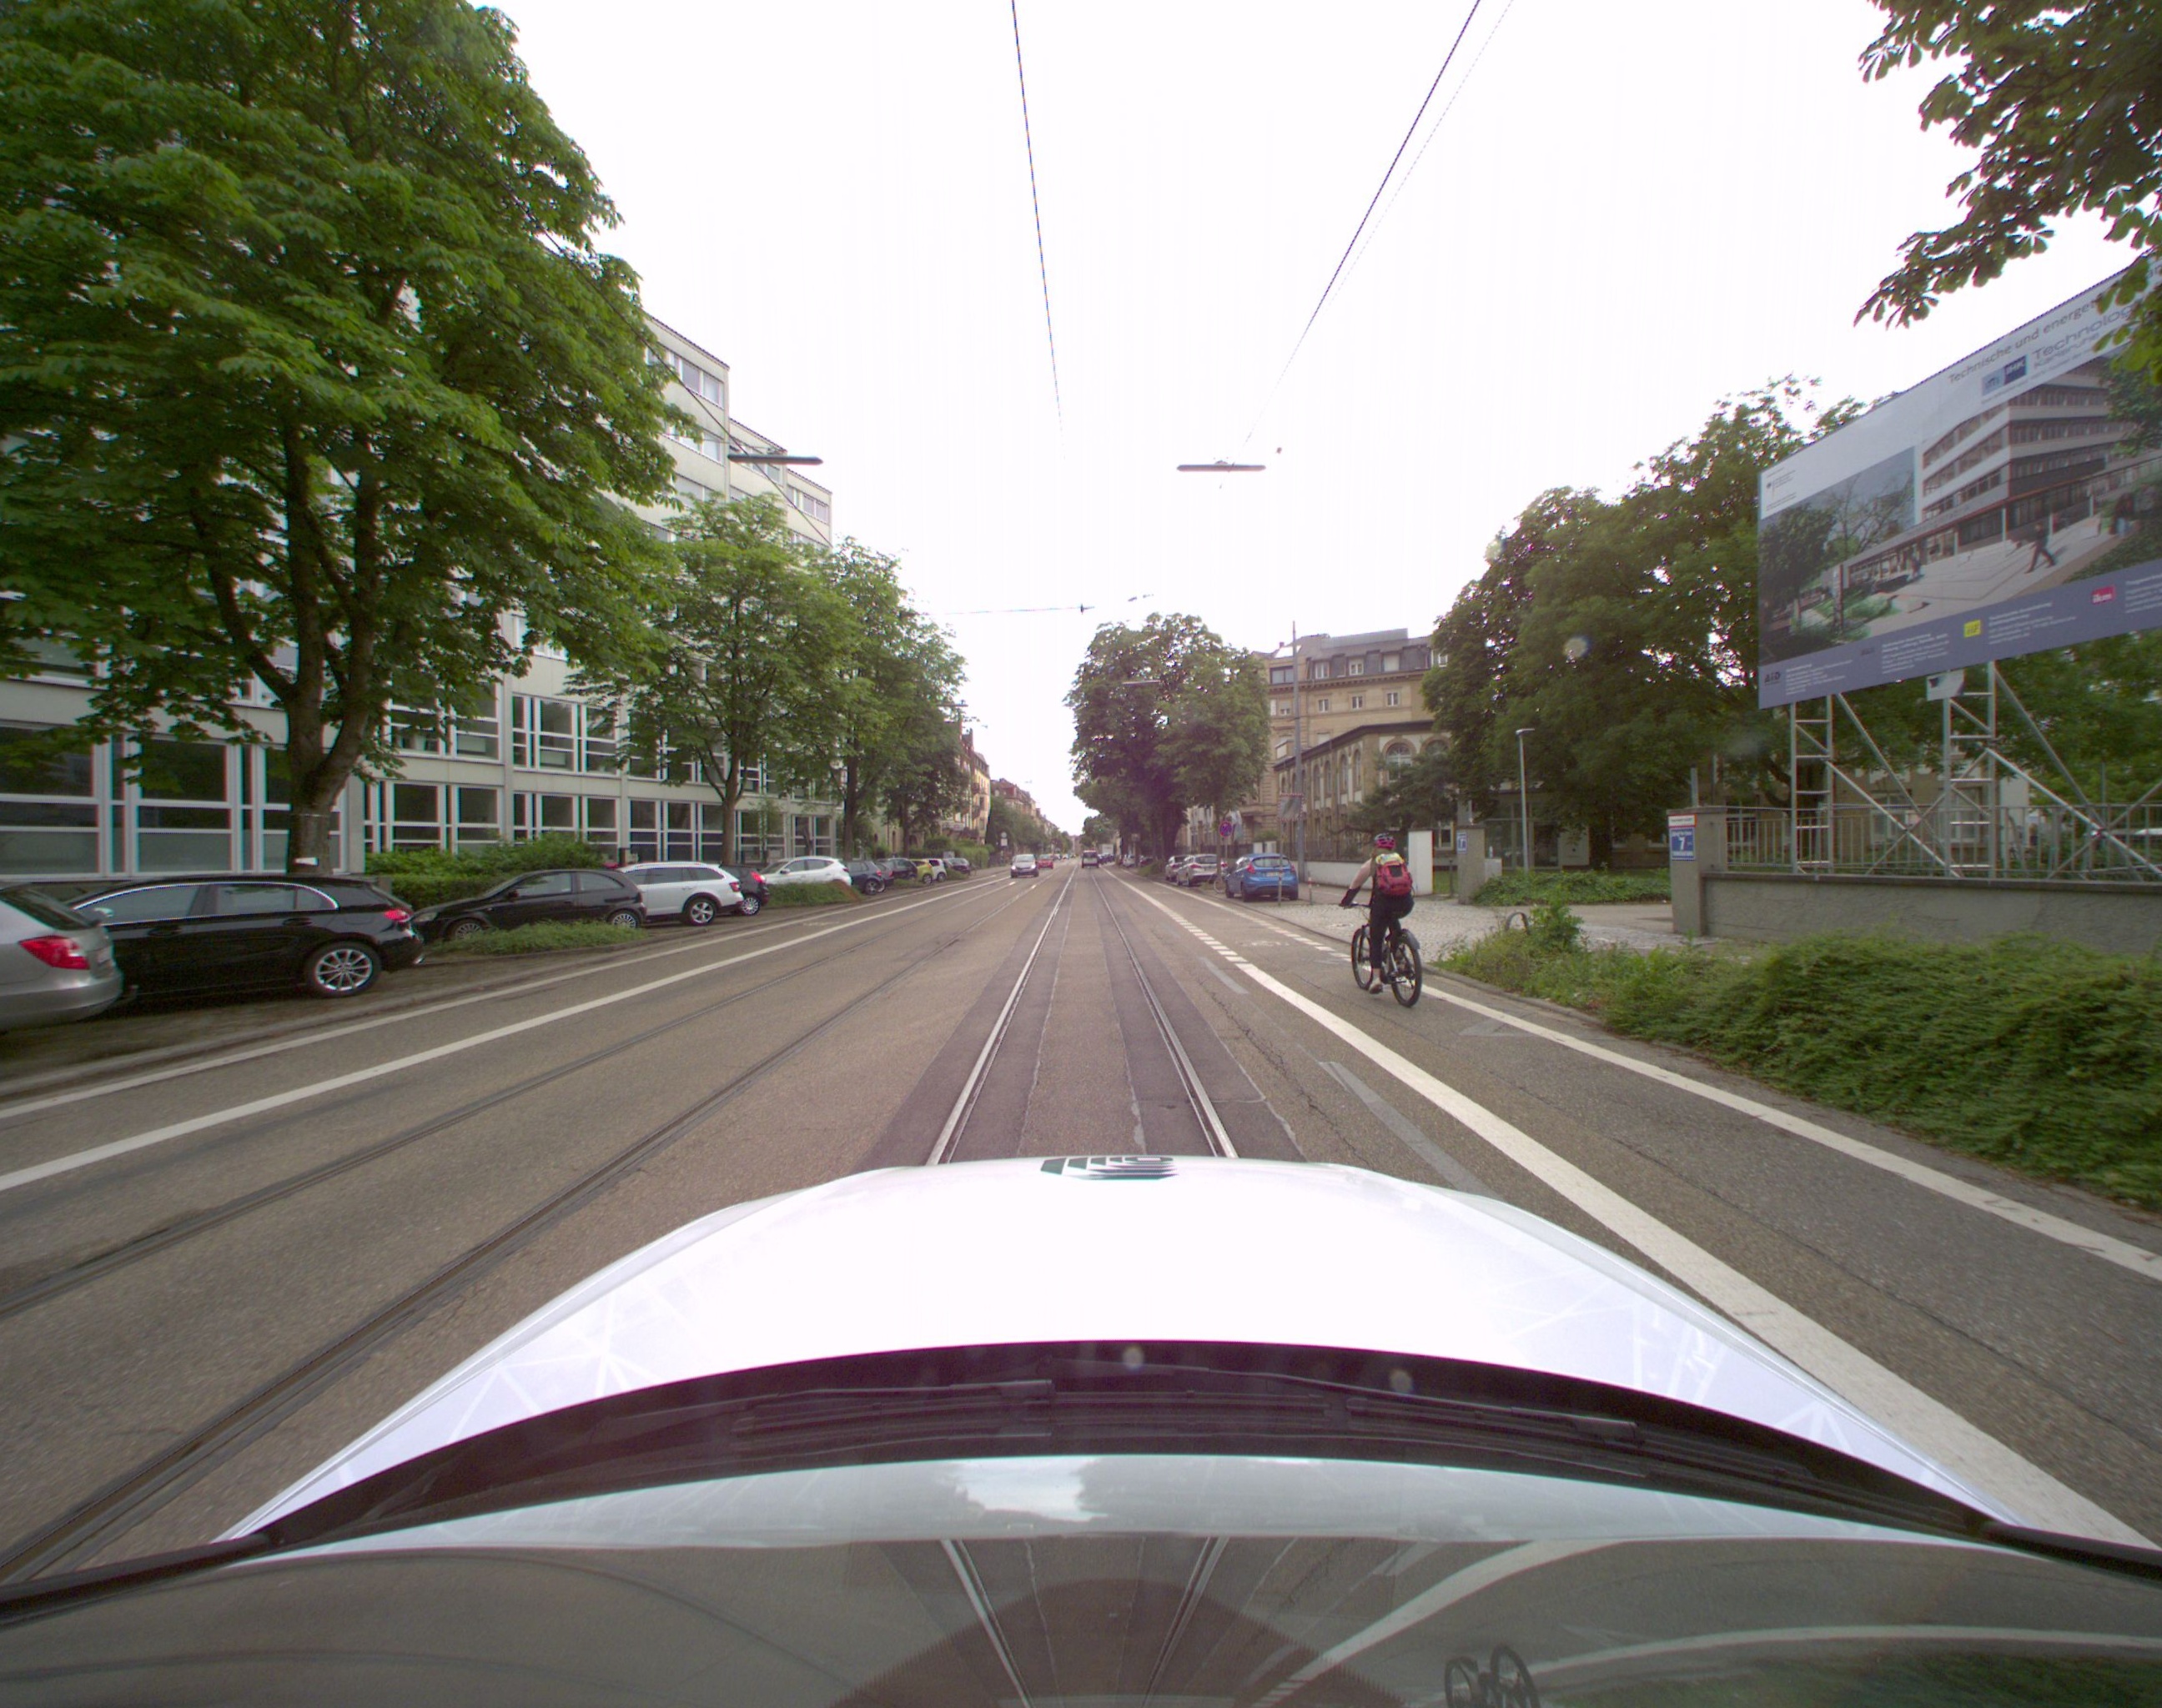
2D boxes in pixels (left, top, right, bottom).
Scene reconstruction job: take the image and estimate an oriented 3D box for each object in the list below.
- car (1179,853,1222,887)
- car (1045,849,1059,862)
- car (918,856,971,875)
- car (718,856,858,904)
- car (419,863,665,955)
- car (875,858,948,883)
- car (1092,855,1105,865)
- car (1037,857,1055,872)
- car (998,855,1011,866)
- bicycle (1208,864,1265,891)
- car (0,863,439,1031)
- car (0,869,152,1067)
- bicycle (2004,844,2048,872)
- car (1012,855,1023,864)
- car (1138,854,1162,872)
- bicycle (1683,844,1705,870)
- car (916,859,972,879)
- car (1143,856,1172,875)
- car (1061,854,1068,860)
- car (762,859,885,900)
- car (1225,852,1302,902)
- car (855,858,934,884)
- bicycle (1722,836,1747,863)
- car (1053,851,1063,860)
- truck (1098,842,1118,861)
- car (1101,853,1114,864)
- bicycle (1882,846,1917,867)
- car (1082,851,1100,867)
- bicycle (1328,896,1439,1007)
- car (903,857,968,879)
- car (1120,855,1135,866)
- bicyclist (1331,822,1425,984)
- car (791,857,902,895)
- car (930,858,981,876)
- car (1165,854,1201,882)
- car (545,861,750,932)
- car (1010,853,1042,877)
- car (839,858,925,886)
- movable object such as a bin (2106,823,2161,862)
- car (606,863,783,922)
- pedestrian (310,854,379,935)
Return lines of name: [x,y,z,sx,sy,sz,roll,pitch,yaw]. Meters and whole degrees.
car: [5.467,0.709,37.647,1.471,1.481,3.564,0,0,0]
car: [-5.557,0.207,155.908,2.195,2.417,4.004,-2,0,4]
car: [-10.381,0.838,61.861,3.725,1.386,1.686,0,0,-24]
car: [-10.276,0.871,28.808,1.678,1.556,4.373,0,0,41]
car: [-10.321,0.953,15.756,3.727,1.524,1.679,0,0,-44]
car: [-9.996,0.949,48.250,1.679,1.351,3.991,0,0,45]
car: [2.486,0.855,118.156,1.763,1.399,3.797,-1,0,2]
car: [-3.592,1.068,83.794,1.671,1.522,2.782,0,-1,1]
car: [-15.108,1.244,161.166,2.170,2.207,4.219,-1,0,1]
bicycle: [5.800,0.878,30.437,2.008,0.957,0.533,-1,0,-4]
car: [-9.698,0.888,9.170,3.727,1.524,1.679,0,0,-44]
car: [-9.860,0.904,6.114,3.672,1.524,1.553,0,0,-44]
bicycle: [36.693,0.139,31.633,0.391,1.065,1.839,-1,0,25]
car: [-10.584,0.904,135.689,1.637,1.354,3.872,-1,0,-3]
car: [5.677,0.759,67.287,1.784,1.399,3.797,-1,0,2]
bicycle: [27.298,0.105,36.266,0.611,1.119,2.235,-2,0,33]
car: [-9.942,1.059,58.964,3.725,1.386,1.686,0,0,-24]
car: [5.520,0.786,59.118,1.866,1.251,4.002,-1,0,2]
car: [-4.891,0.825,241.651,1.765,1.643,3.570,-2,0,4]
car: [-10.060,0.950,32.055,1.679,1.454,4.372,0,0,45]
car: [5.680,0.676,25.710,1.669,1.460,3.432,0,0,0]
car: [-10.283,0.922,45.108,1.679,1.351,3.991,0,0,45]
bicycle: [28.448,-0.206,35.458,0.611,1.119,2.235,-2,0,33]
car: [-5.670,0.413,200.125,2.198,2.255,4.000,-1,0,0]
truck: [6.199,-0.537,187.318,3.799,4.029,10.207,-1,0,-3]
car: [4.373,0.731,133.531,1.986,1.794,4.001,-1,0,1]
bicycle: [33.331,0.074,33.196,0.611,0.813,1.957,-1,0,33]
car: [1.060,0.515,86.548,1.804,1.708,3.701,0,-1,3]
bicycle: [3.197,0.984,8.792,0.488,0.979,2.058,0,-1,2]
car: [-9.501,0.876,53.426,1.679,1.351,3.991,0,0,45]
car: [6.069,0.818,106.672,1.763,1.399,3.797,-1,0,2]
bicyclist: [3.121,0.494,8.640,0.655,1.610,0.920,-1,0,1]
car: [-10.144,0.920,35.436,1.679,1.535,4.372,0,0,45]
car: [-10.067,1.041,65.426,3.725,1.386,1.686,0,0,-24]
car: [5.563,0.735,44.799,1.471,1.429,3.564,-1,0,0]
car: [-10.112,0.908,19.136,4.048,1.484,1.681,0,0,-38]
car: [-3.806,0.762,56.437,1.894,1.530,3.753,-2,0,0]
car: [-10.191,0.892,41.908,1.679,1.351,3.991,0,0,45]
movable object such as a bin: [35.451,-0.396,27.134,1.044,1.265,1.360,-1,0,19]
car: [-10.363,0.971,21.949,4.048,1.405,1.681,0,0,-38]
pedestrian: [-14.980,0.809,16.575,0.746,1.612,0.738,0,-2,24]
